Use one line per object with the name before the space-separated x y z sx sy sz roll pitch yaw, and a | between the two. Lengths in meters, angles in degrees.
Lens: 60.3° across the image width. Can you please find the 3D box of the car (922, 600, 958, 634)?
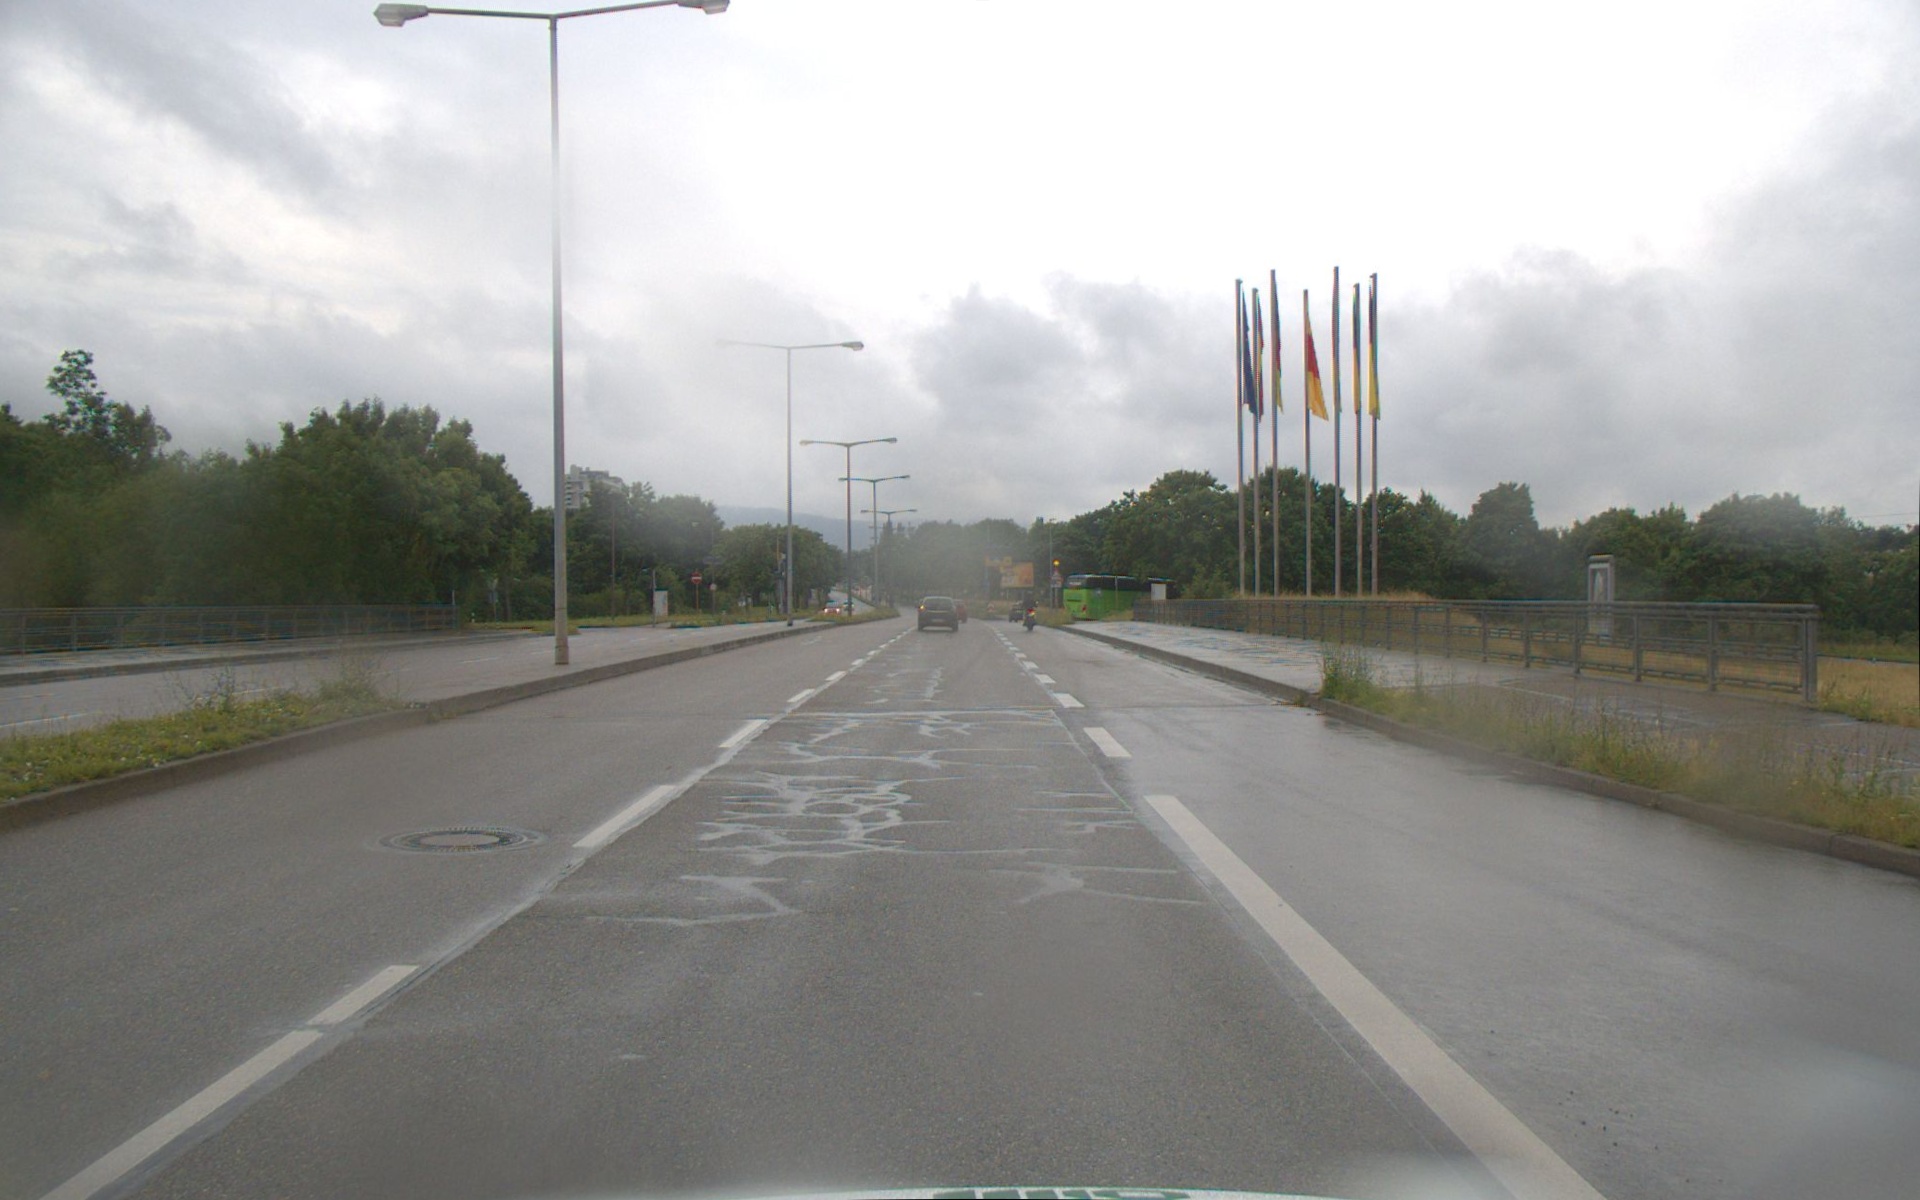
car | -0.849 0.695 69.286 1.433 1.352 3.756 1 0 -2

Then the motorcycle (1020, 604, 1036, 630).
motorcycle | 3.004 0.746 73.111 0.589 1.112 1.731 1 0 -2

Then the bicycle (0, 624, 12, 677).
bicycle | -19.315 0.999 32.163 0.597 1.051 2.000 1 0 -1

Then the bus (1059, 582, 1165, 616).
bus | 13.634 -0.028 146.600 2.706 2.727 14.543 1 -1 34

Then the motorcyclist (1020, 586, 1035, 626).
motorcyclist | 2.997 0.264 73.092 0.589 1.719 0.860 1 0 -2

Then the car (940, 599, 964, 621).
car | -0.530 0.648 106.017 1.433 1.352 3.756 1 0 -2

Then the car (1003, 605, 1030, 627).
car | 4.358 1.230 127.868 1.817 1.646 3.998 1 0 -3
